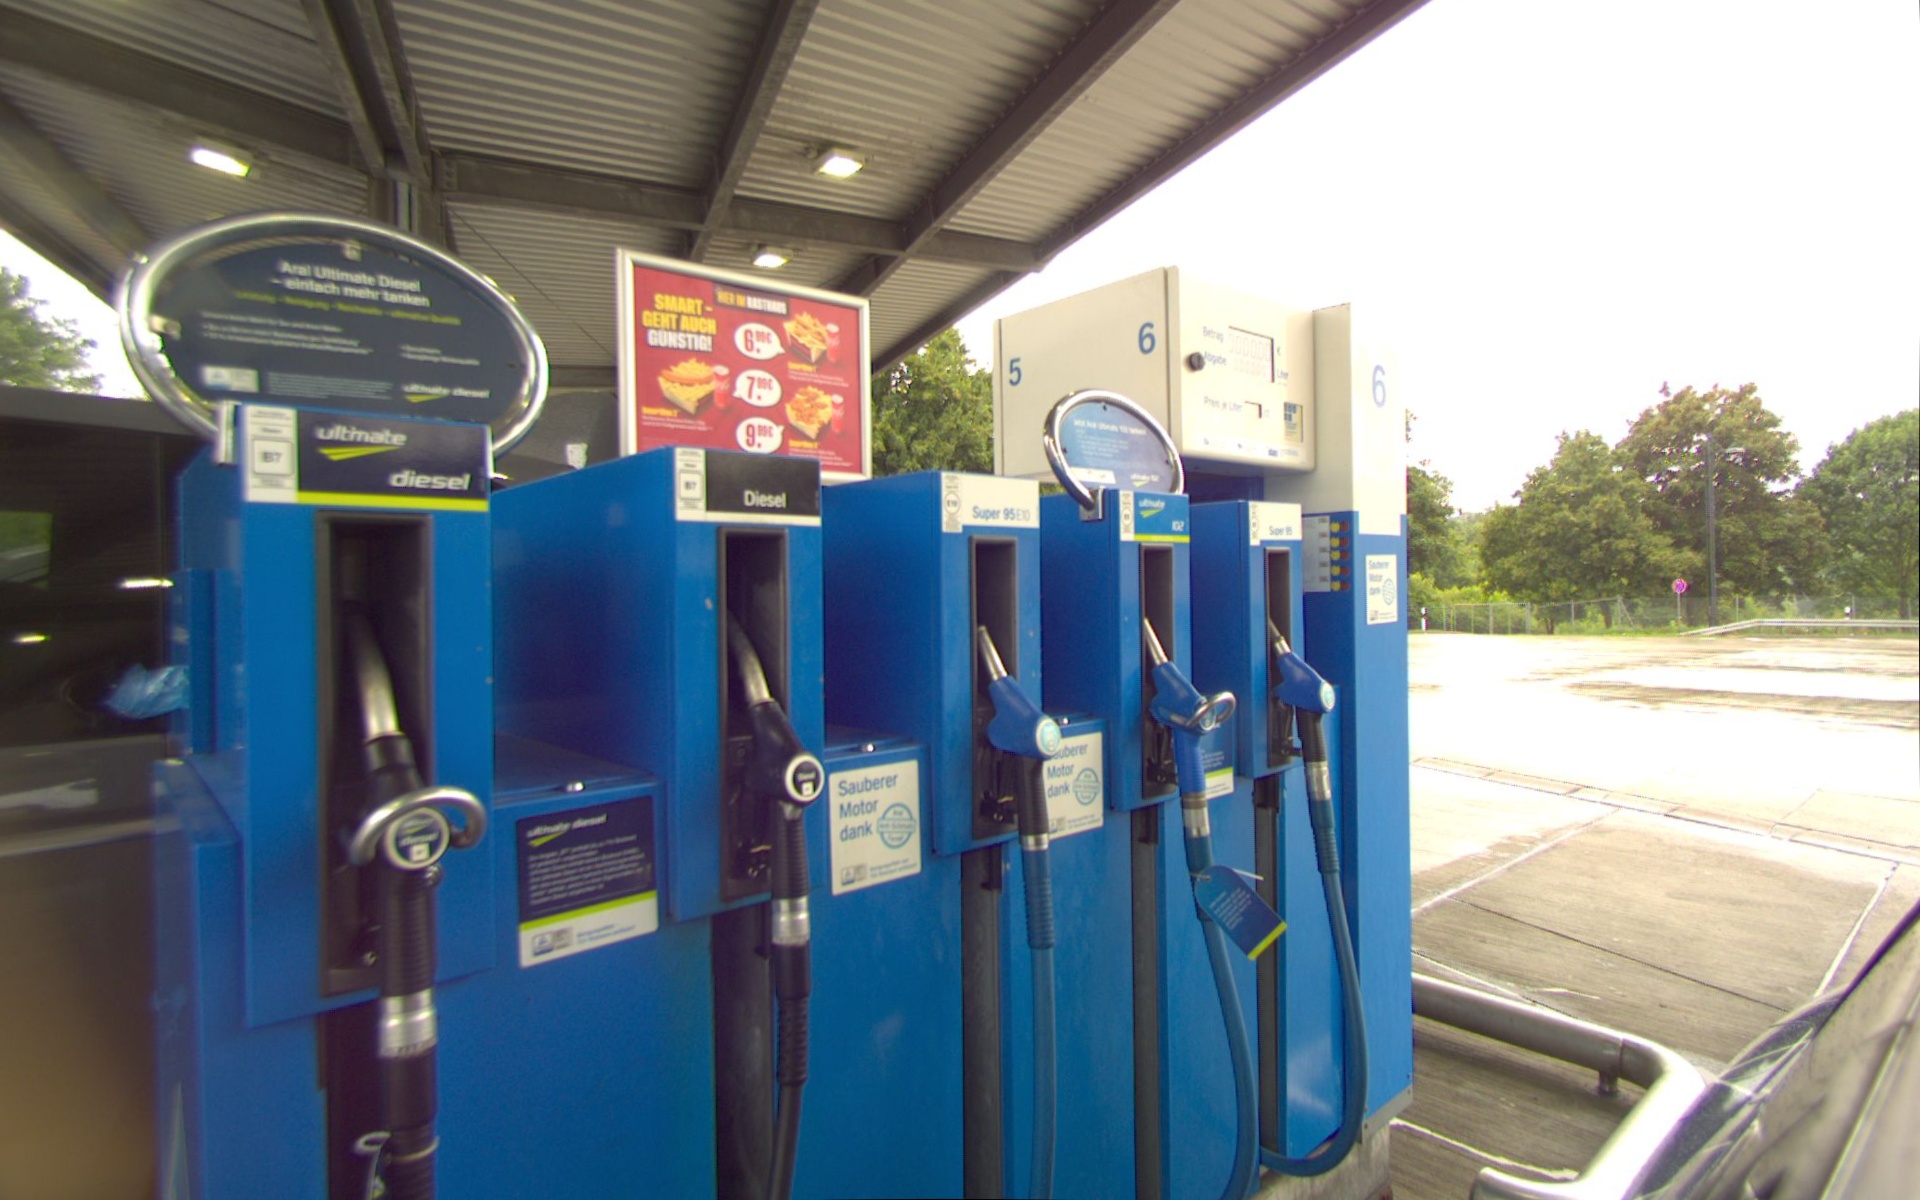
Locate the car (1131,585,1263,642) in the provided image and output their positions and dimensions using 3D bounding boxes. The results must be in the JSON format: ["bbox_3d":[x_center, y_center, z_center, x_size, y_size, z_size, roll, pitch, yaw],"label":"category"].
[{"bbox_3d":[7.435,0.384,31.931,3.941,1.680,1.593,1,0,14],"label":"car"}]

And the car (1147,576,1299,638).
[{"bbox_3d":[8.897,0.205,34.514,4.817,1.974,2.306,1,1,14],"label":"car"}]

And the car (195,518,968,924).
[{"bbox_3d":[-2.225,0.516,6.714,4.460,1.821,1.864,-1,0,-41],"label":"car"}]

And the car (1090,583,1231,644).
[{"bbox_3d":[5.881,0.372,29.741,3.941,1.680,1.593,1,0,14],"label":"car"}]

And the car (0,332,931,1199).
[{"bbox_3d":[-2.589,0.500,1.828,5.050,1.821,1.864,-1,0,-41],"label":"car"}]
